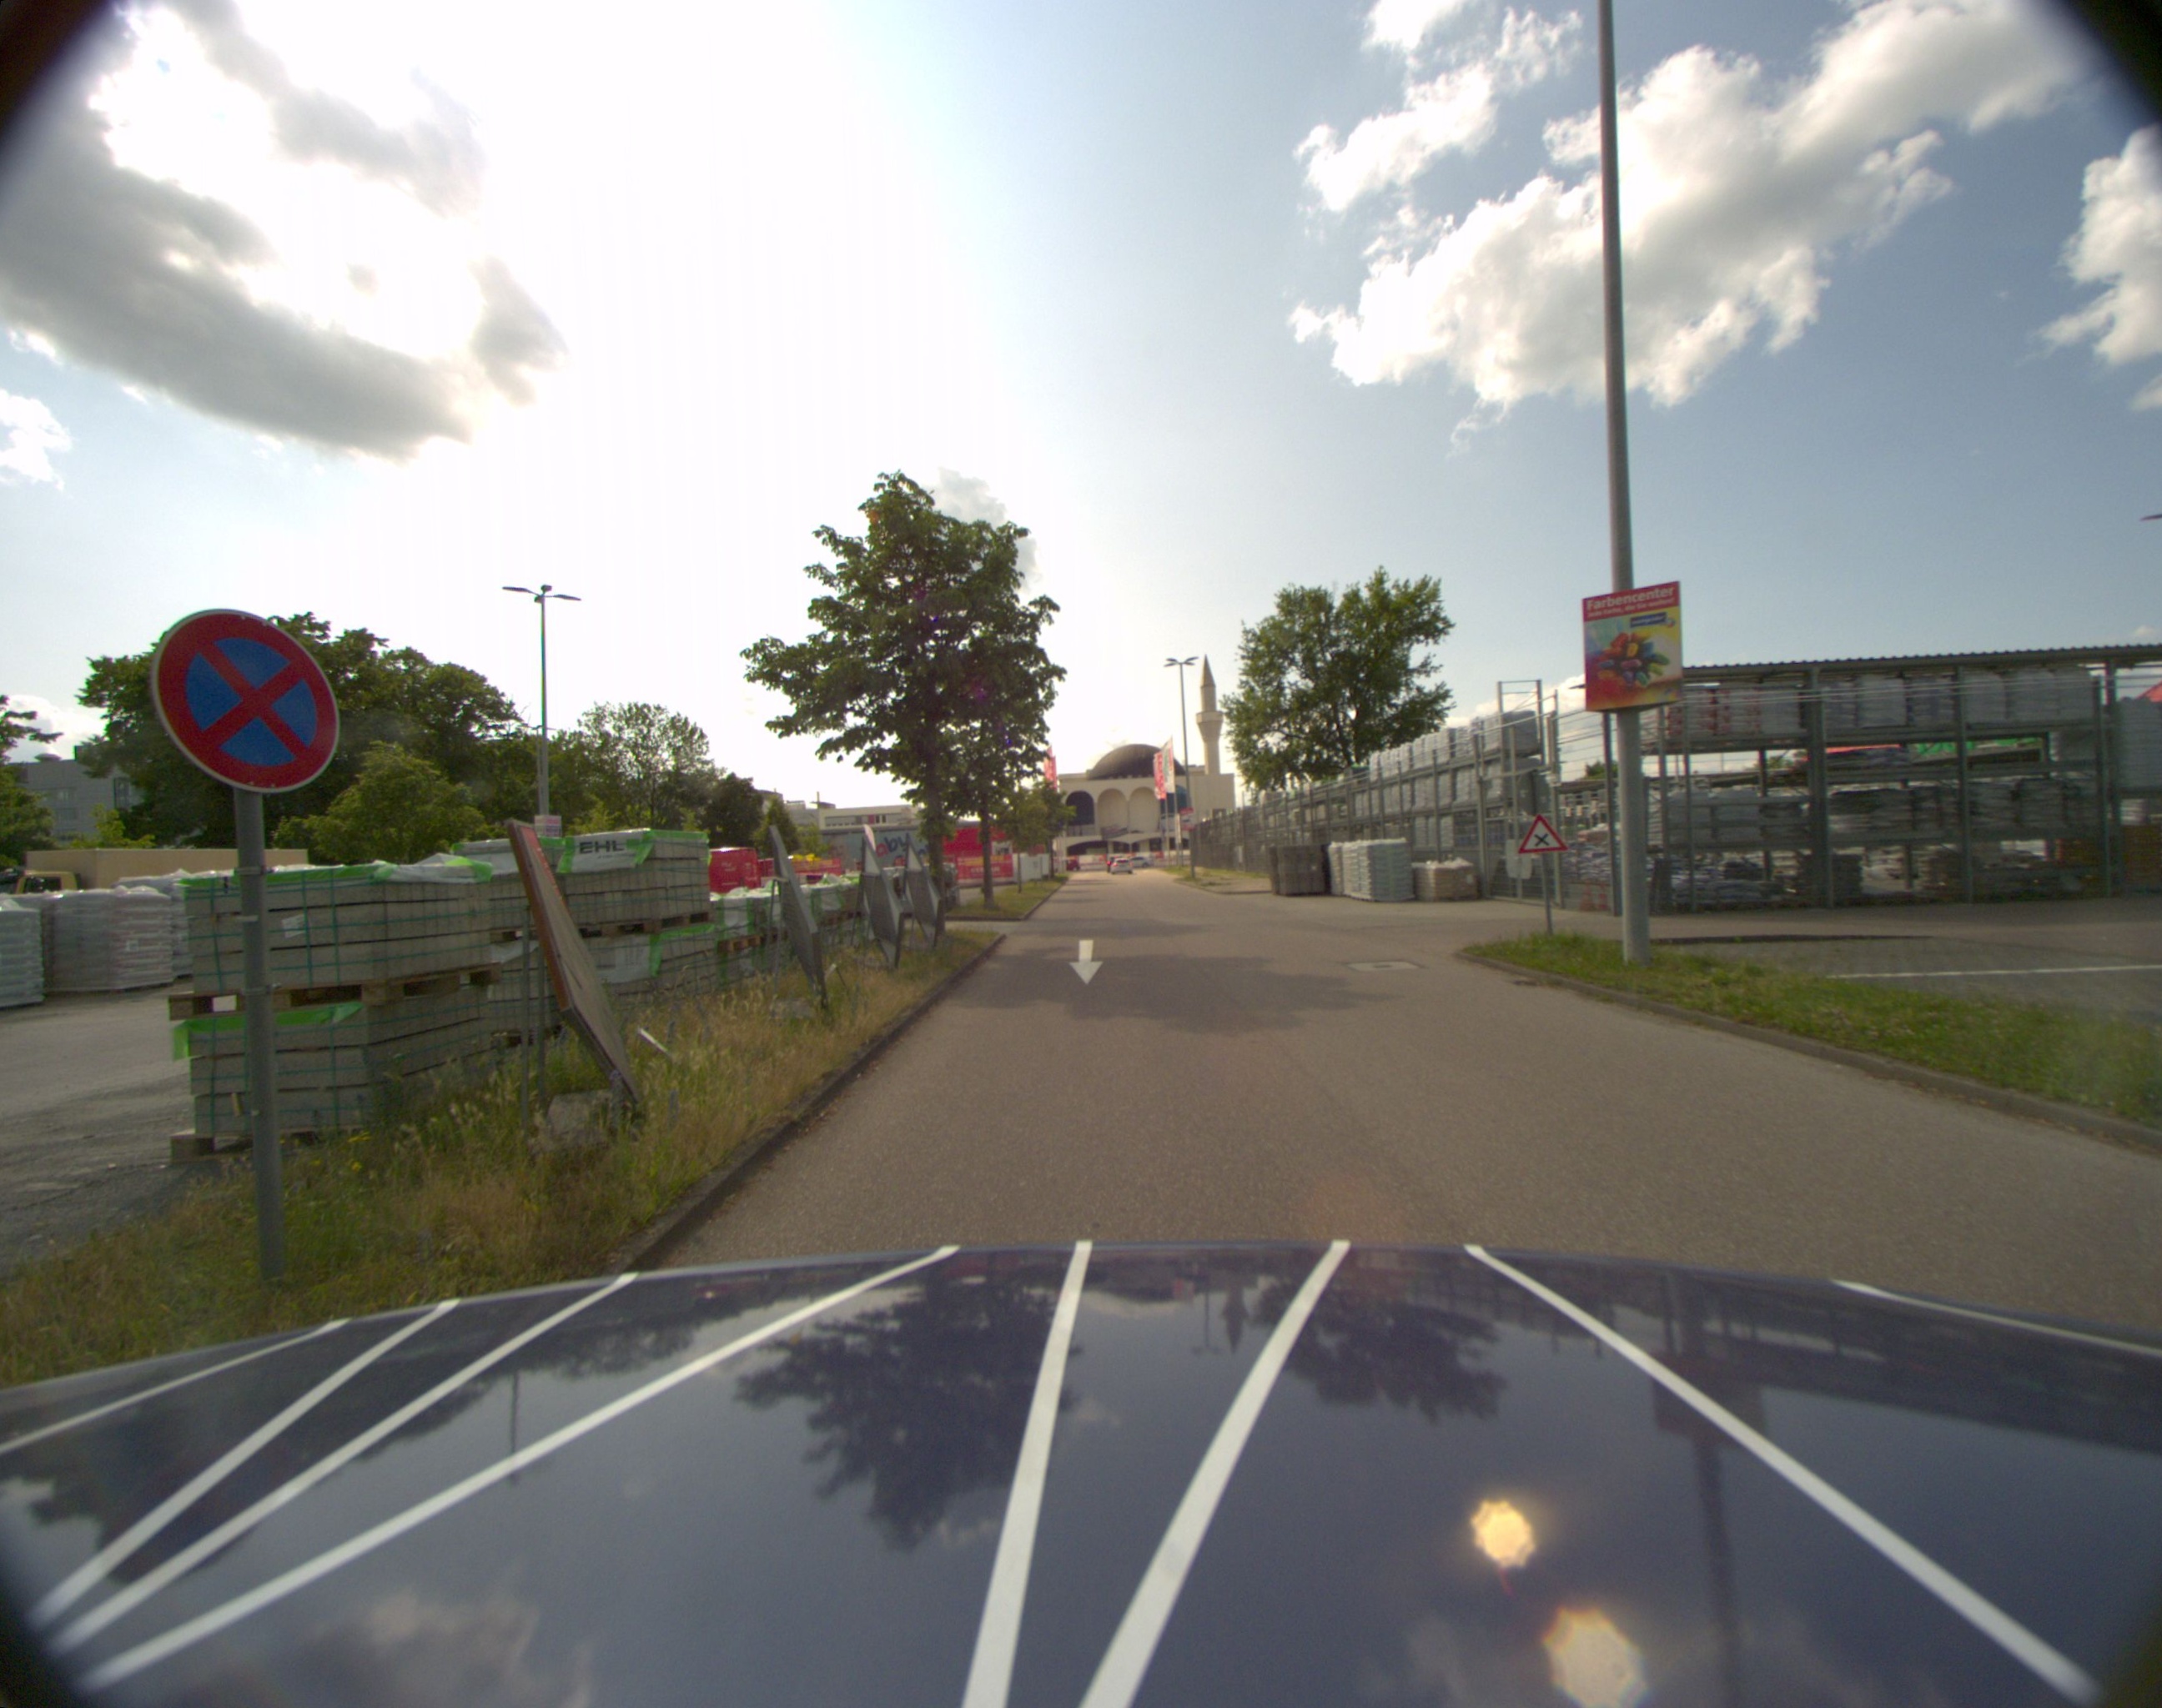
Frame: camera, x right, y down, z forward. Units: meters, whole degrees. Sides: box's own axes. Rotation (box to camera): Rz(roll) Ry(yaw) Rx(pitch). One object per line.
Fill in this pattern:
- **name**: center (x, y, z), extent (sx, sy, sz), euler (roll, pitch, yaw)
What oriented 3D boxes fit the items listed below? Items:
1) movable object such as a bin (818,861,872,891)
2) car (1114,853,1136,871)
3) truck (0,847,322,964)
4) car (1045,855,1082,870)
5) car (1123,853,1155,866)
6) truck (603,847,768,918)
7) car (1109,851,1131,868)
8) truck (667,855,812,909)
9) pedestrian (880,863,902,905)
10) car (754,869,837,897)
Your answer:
- **movable object such as a bin**: center (-15.550, 1.433, 50.169), extent (3.010, 1.833, 1.389), euler (-3, 0, 1)
- **car**: center (3.953, 0.710, 68.964), extent (1.808, 1.456, 4.329), euler (-3, 0, 1)
- **truck**: center (-34.101, 1.641, 28.012), extent (2.727, 3.577, 9.038), euler (-2, 0, 3)
- **car**: center (-2.073, 1.029, 90.454), extent (4.190, 1.500, 1.792), euler (-3, 0, 2)
- **car**: center (6.888, 0.679, 90.491), extent (3.707, 1.358, 1.651), euler (-2, 0, 3)
- **truck**: center (-15.815, 1.106, 30.619), extent (5.442, 2.500, 2.116), euler (-3, 0, -2)
- **car**: center (3.924, 0.591, 76.827), extent (1.920, 1.608, 4.374), euler (-2, 0, 0)
- **truck**: center (-16.285, 1.297, 36.516), extent (5.860, 2.242, 2.173), euler (-3, 0, -2)
- **pedestrian**: center (-7.964, 1.230, 31.819), extent (0.600, 1.682, 0.879), euler (-2, 1, 3)
- **car**: center (-16.538, 1.661, 44.159), extent (4.144, 1.406, 1.617), euler (-2, 1, -4)
